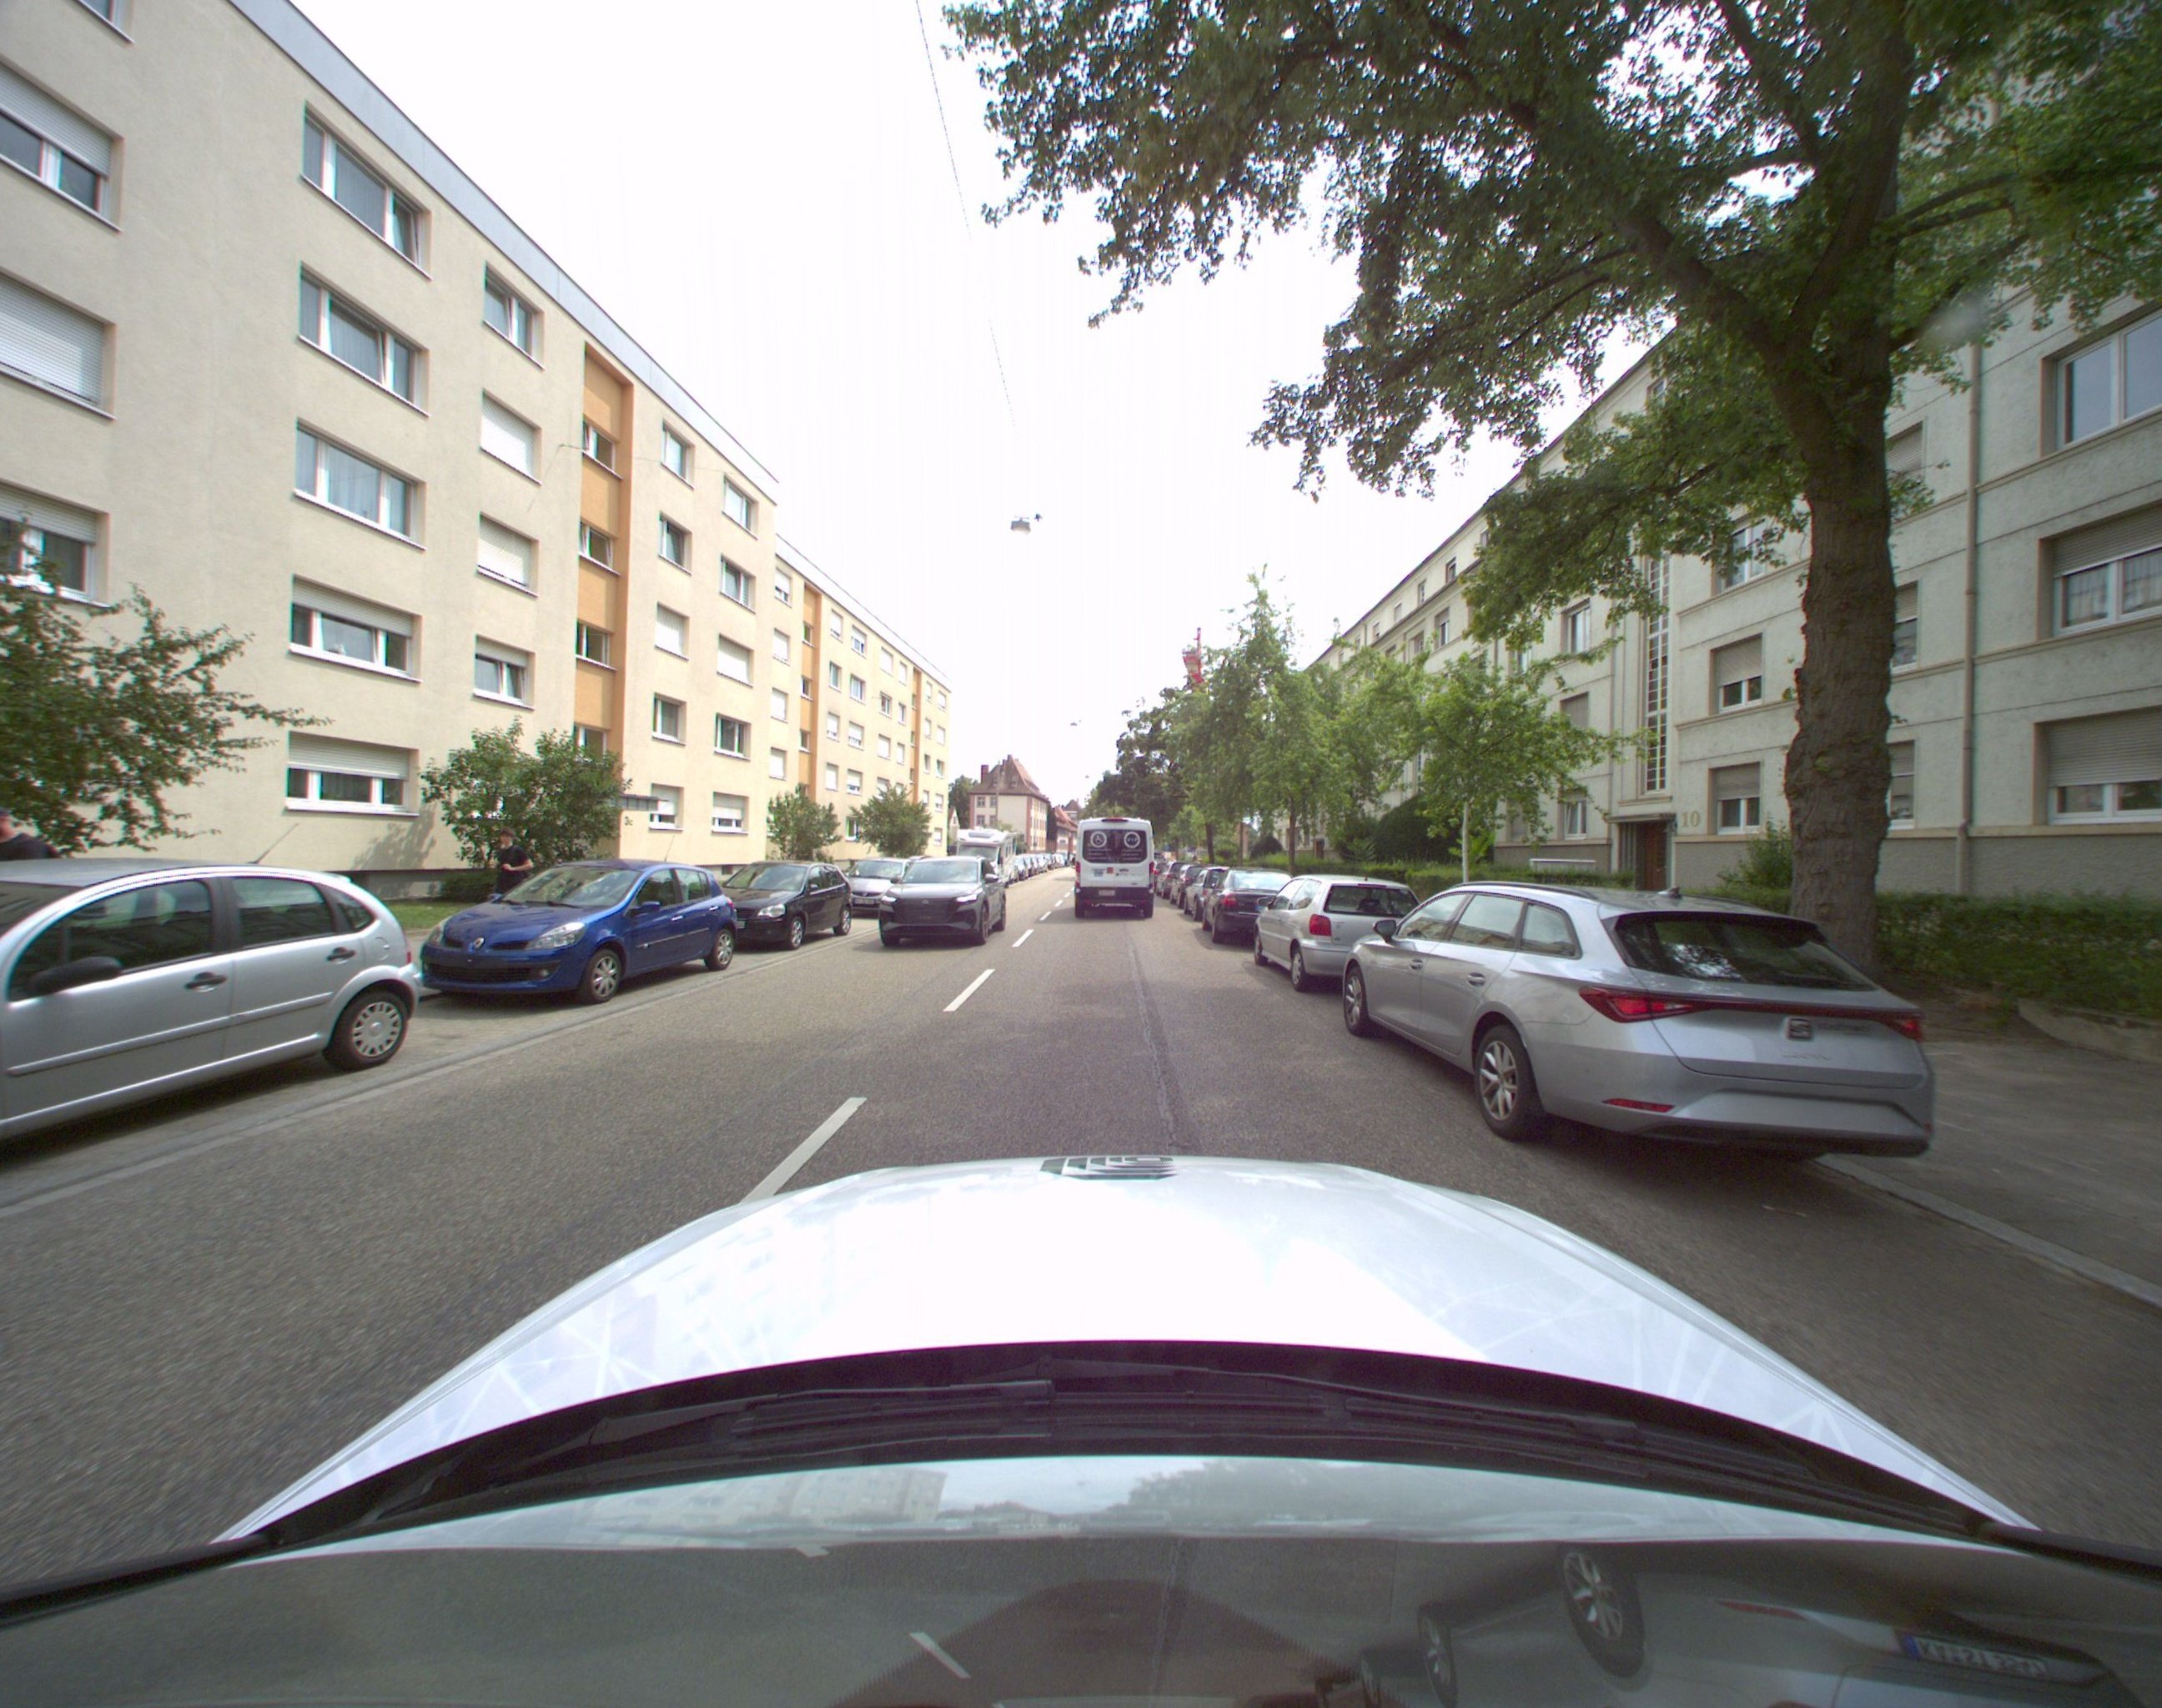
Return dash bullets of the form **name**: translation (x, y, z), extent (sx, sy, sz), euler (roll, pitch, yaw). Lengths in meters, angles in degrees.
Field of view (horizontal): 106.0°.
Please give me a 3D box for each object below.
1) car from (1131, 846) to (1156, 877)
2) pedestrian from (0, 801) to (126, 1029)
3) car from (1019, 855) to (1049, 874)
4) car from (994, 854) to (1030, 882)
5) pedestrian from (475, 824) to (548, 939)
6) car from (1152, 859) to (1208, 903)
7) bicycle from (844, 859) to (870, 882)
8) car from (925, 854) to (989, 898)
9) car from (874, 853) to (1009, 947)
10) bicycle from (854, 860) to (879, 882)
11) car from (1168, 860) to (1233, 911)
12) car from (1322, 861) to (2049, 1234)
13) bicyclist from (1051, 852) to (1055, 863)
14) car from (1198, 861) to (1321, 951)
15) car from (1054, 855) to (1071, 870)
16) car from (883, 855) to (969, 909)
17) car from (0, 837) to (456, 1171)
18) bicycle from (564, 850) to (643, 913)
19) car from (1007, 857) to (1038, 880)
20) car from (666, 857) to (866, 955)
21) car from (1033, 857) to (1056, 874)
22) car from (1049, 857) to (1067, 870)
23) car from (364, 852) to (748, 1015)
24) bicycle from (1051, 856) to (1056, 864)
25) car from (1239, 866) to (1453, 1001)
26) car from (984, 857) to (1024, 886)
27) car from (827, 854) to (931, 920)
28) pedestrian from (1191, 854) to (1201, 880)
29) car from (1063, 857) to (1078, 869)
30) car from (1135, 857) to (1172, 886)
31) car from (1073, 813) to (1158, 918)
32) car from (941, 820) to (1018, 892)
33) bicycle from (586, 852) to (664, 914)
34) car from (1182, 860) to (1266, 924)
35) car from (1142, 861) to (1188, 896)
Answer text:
- **car**: translation (5.558, 0.687, 72.739), extent (1.889, 2.587, 4.831), euler (3, 0, 2)
- **pedestrian**: translation (-8.894, 0.477, 6.827), extent (0.617, 1.813, 0.899), euler (2, -1, -1)
- **car**: translation (-3.956, 0.883, 69.207), extent (1.877, 1.488, 4.638), euler (2, 0, 4)
- **car**: translation (-4.340, 0.856, 52.081), extent (1.880, 1.579, 5.217), euler (2, 0, -1)
- **pedestrian**: translation (-9.296, 0.438, 13.322), extent (0.617, 1.813, 0.803), euler (0, -1, -1)
- **car**: translation (3.983, 1.051, 33.379), extent (1.654, 1.583, 4.285), euler (3, 0, 0)
- **bicycle**: translation (-10.656, 0.771, 38.830), extent (0.451, 0.980, 2.447), euler (1, 1, 2)
- **car**: translation (-4.826, 0.816, 32.337), extent (1.682, 1.579, 4.595), euler (2, 0, 1)
- **car**: translation (-2.558, 0.795, 16.031), extent (1.811, 1.586, 4.437), euler (0, 0, 1)
- **bicycle**: translation (-10.183, 0.779, 38.774), extent (0.451, 0.980, 2.447), euler (1, 1, 2)
- **car**: translation (3.877, 0.979, 26.962), extent (1.653, 1.469, 3.891), euler (0, 1, 1)
- **car**: translation (3.228, 0.827, 5.766), extent (1.691, 1.469, 4.718), euler (2, 0, 1)
- **bicyclist**: translation (-3.909, 0.478, 114.027), extent (0.533, 1.585, 0.692), euler (0, 0, 5)
- **car**: translation (3.388, 0.908, 16.294), extent (1.771, 1.469, 4.620), euler (2, 0, 5)
- **car**: translation (-2.367, 1.050, 102.416), extent (1.778, 1.827, 3.977), euler (2, 0, 3)
- **car**: translation (-5.050, 0.864, 27.164), extent (1.748, 1.579, 4.571), euler (2, 0, 2)
- **car**: translation (-5.949, 0.705, 4.653), extent (1.664, 1.561, 3.852), euler (2, 0, 1)
- **bicycle**: translation (-11.423, 0.626, 19.568), extent (0.460, 1.412, 2.133), euler (1, 1, 5)
- **car**: translation (-4.119, 0.971, 57.904), extent (1.735, 1.496, 4.787), euler (2, 0, 1)
- **car**: translation (-5.530, 0.828, 14.948), extent (1.810, 1.483, 4.119), euler (2, 0, 3)
- **car**: translation (-3.527, 1.059, 78.861), extent (1.778, 1.543, 3.863), euler (2, 0, 3)
- **car**: translation (-2.729, 1.139, 97.063), extent (1.778, 1.482, 3.863), euler (2, 0, 3)
- **car**: translation (-5.808, 0.762, 9.698), extent (1.810, 1.483, 3.888), euler (2, 0, 4)
- **bicycle**: translation (-3.880, 0.875, 114.349), extent (0.539, 1.175, 1.351), euler (0, 0, 5)
- **car**: translation (3.373, 0.925, 11.136), extent (1.664, 1.400, 3.852), euler (3, 0, 1)
- **car**: translation (-4.311, 0.972, 46.103), extent (1.682, 1.496, 4.595), euler (2, 0, 1)
- **car**: translation (-5.309, 0.806, 21.905), extent (1.717, 1.539, 4.005), euler (1, 1, 1)
- **pedestrian**: translation (8.082, 0.881, 57.243), extent (0.526, 1.828, 0.518), euler (1, -1, -36)
- **car**: translation (-1.457, 1.236, 112.698), extent (1.778, 1.482, 3.863), euler (2, 0, 3)
- **car**: translation (4.756, 1.114, 54.034), extent (1.921, 1.661, 5.323), euler (3, 0, 0)
- **car**: translation (0.838, 0.312, 22.022), extent (2.064, 2.540, 4.634), euler (0, -1, 0)
- **car**: translation (-4.691, 0.098, 39.063), extent (2.501, 3.024, 7.398), euler (2, 0, 1)
- **bicycle**: translation (-10.834, 0.650, 19.422), extent (0.459, 1.393, 2.133), euler (1, 1, 6)
- **car**: translation (3.753, 0.958, 21.914), extent (1.653, 1.469, 3.726), euler (1, 1, 1)
- **car**: translation (3.884, 1.084, 38.218), extent (1.612, 1.469, 4.390), euler (2, 0, -1)
